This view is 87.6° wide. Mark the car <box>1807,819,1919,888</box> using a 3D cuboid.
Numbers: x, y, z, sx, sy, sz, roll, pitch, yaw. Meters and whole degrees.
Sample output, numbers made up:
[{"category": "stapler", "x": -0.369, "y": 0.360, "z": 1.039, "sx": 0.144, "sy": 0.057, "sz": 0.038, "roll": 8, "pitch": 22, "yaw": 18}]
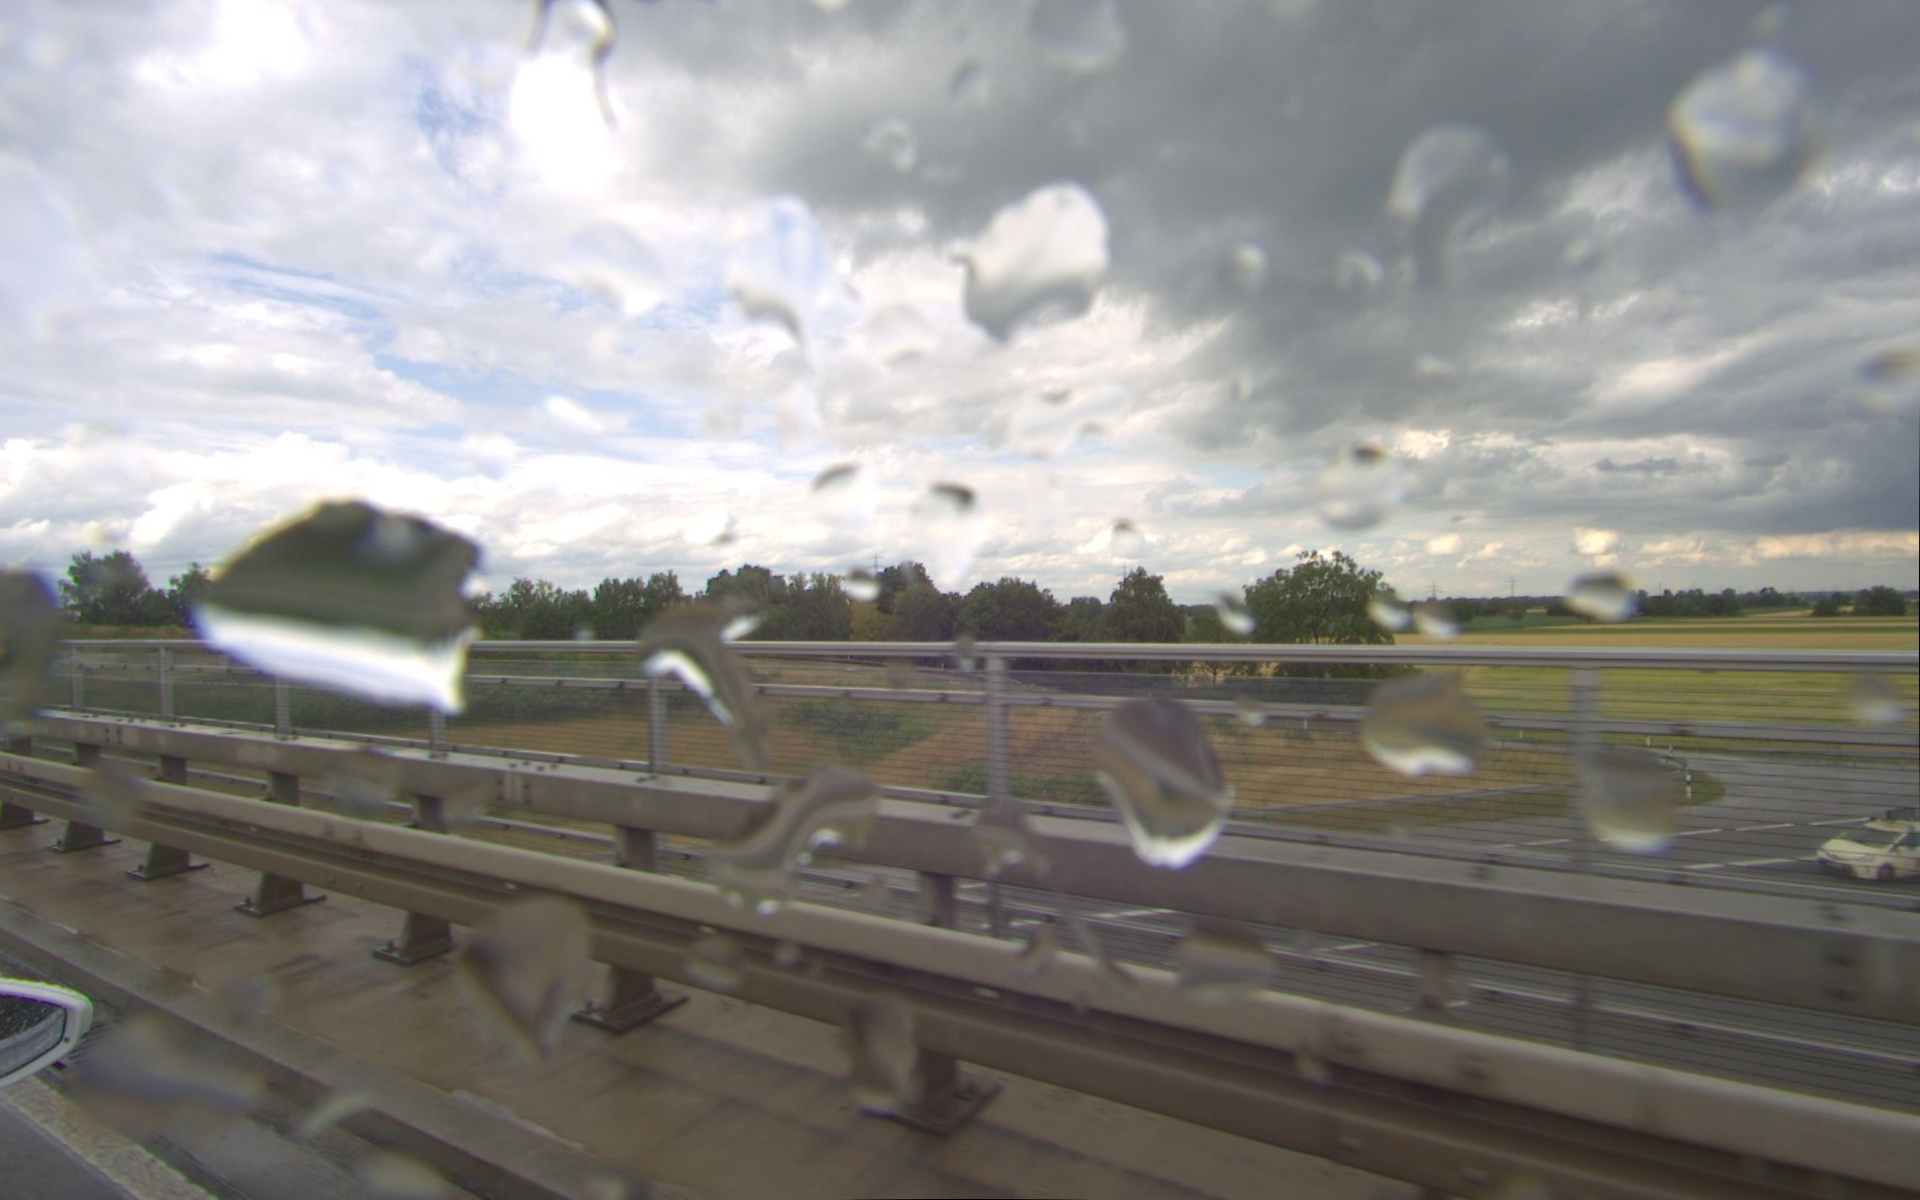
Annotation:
[{"category": "car", "x": 29.909, "y": 8.032, "z": 31.860, "sx": 4.634, "sy": 1.690, "sz": 1.815, "roll": 0, "pitch": -2, "yaw": -7}]

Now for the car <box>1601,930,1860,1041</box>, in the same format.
[{"category": "car", "x": 16.725, "y": 8.332, "z": 21.826, "sx": 4.635, "sy": 1.504, "sz": 1.814, "roll": 0, "pitch": -2, "yaw": -10}]
